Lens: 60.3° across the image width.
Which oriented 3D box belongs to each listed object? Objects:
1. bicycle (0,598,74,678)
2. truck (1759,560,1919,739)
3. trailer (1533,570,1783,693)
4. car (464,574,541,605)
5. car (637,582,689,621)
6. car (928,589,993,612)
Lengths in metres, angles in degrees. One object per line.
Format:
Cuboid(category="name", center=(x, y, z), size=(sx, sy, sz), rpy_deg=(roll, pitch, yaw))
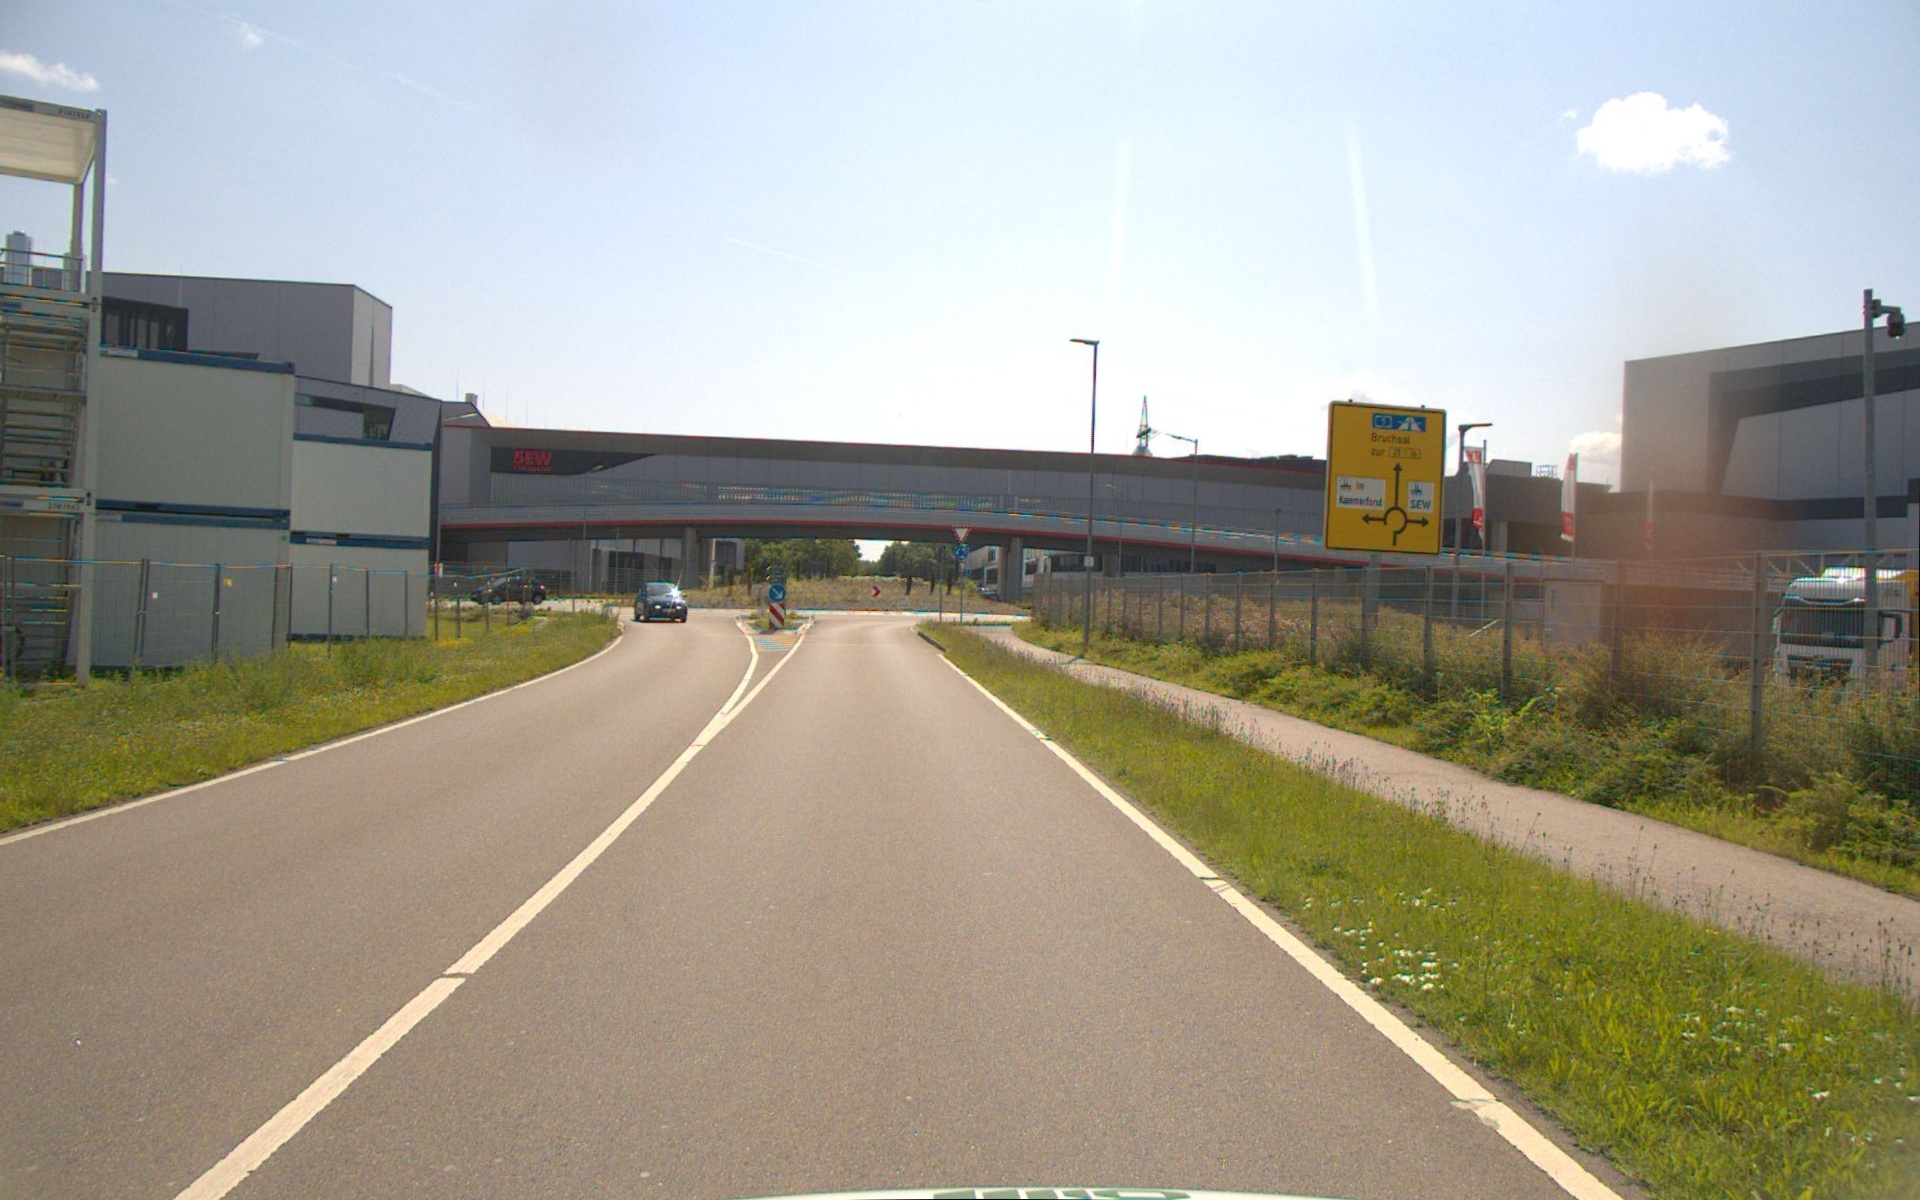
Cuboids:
Cuboid(category="bicycle", center=(-16.092, 0.634, 27.839), size=(2.021, 1.324, 0.601), rpy_deg=(1, -1, -34))
Cuboid(category="truck", center=(25.260, 1.226, 43.667), size=(10.852, 4.245, 2.786), rpy_deg=(1, 0, -37))
Cuboid(category="trailer", center=(28.159, 1.246, 66.154), size=(13.914, 4.515, 2.729), rpy_deg=(1, -1, -38))
Cuboid(category="car", center=(-25.267, -0.564, 91.381), size=(1.954, 1.612, 3.996), rpy_deg=(0, 0, 26))
Cuboid(category="car", center=(-11.852, 0.068, 65.905), size=(1.675, 1.508, 3.983), rpy_deg=(1, 0, -16))
Cuboid(category="car", center=(0.018, 0.037, 105.523), size=(3.930, 1.411, 1.987), rpy_deg=(0, 0, 43))
